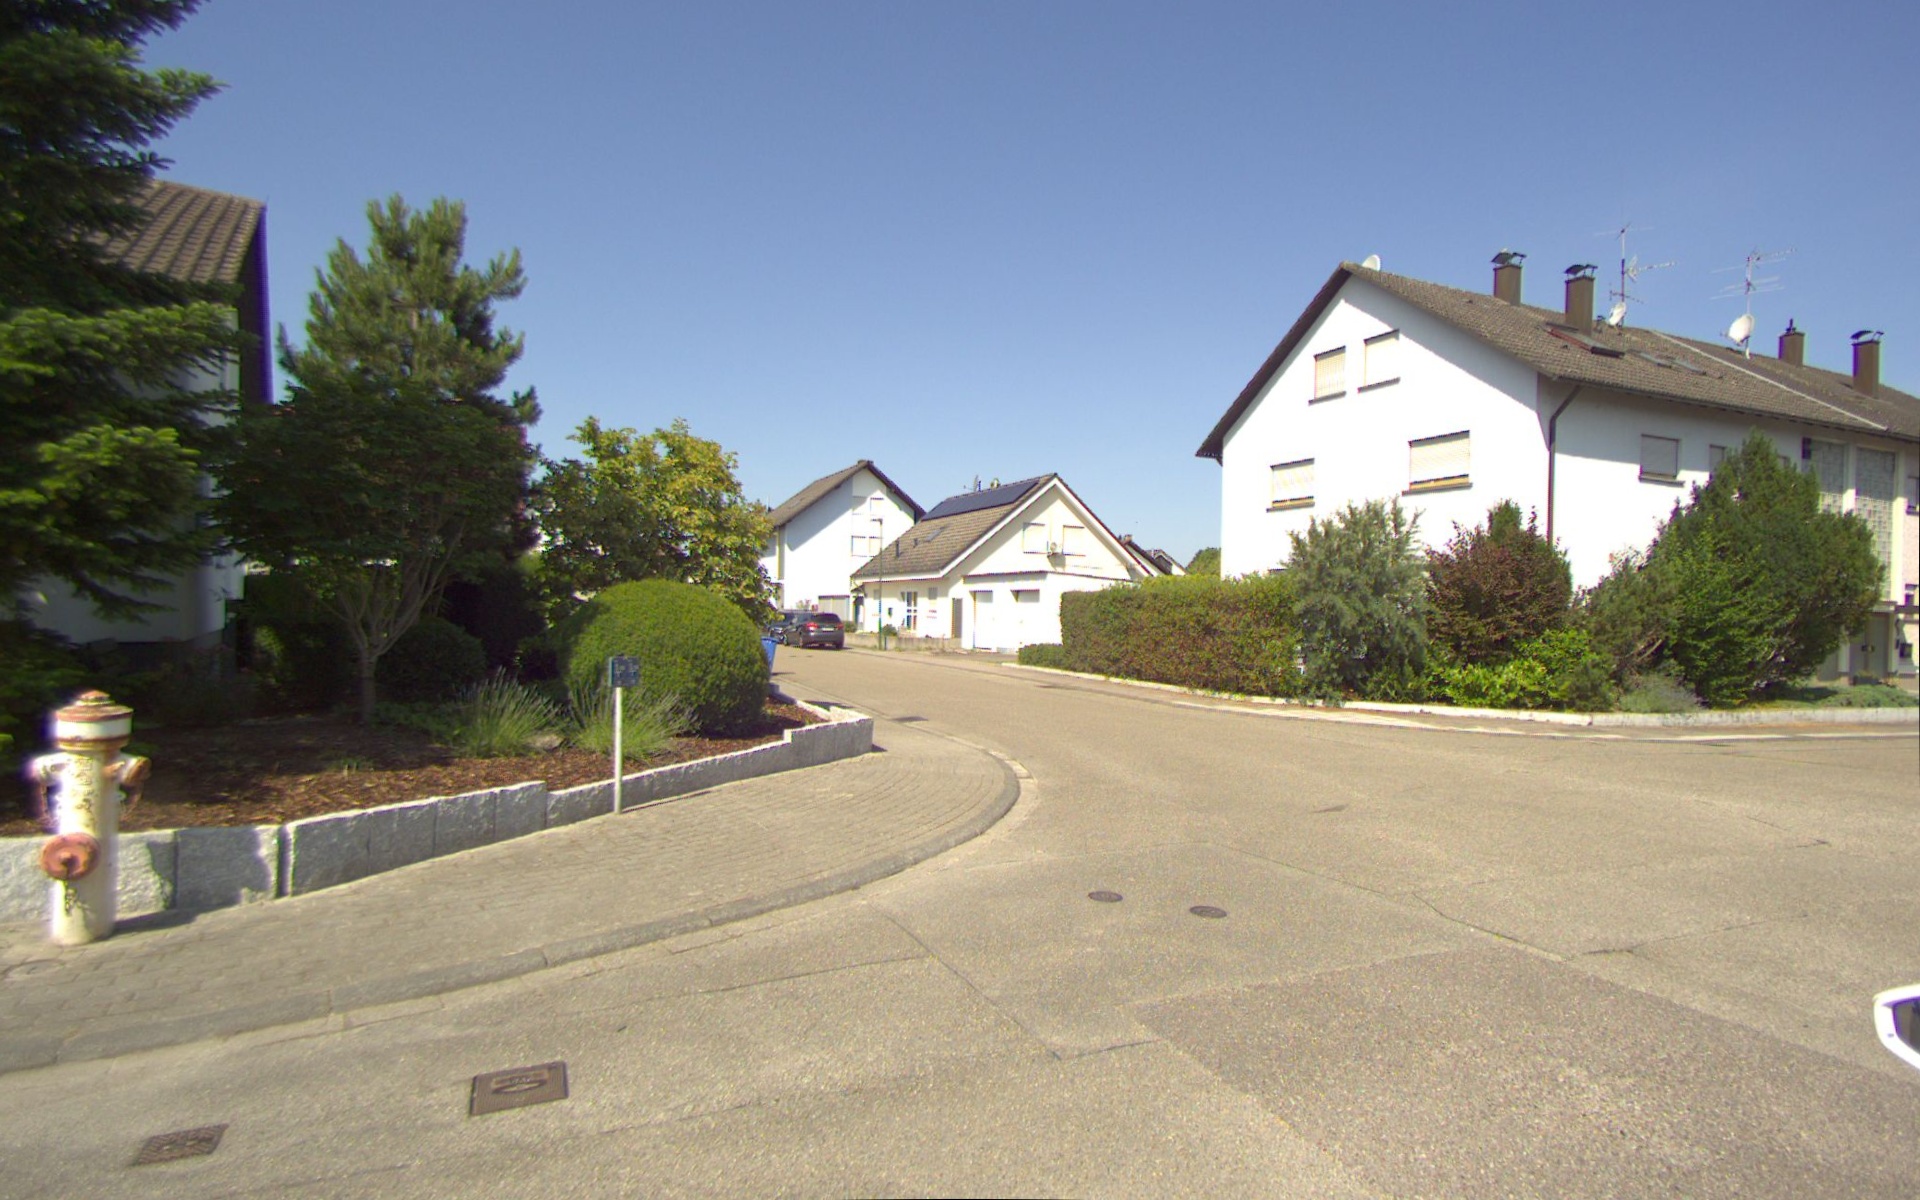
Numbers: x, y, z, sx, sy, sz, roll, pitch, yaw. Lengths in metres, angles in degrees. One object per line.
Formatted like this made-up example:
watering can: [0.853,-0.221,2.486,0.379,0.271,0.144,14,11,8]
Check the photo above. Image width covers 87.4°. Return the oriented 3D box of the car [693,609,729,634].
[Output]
car: [-16.440,1.399,66.177,1.627,1.602,4.123,1,-1,-23]

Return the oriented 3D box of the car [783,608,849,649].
car: [-6.041,1.168,41.762,1.625,1.498,3.976,3,-1,-24]

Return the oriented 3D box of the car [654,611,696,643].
car: [-14.819,1.378,52.104,1.627,1.602,3.787,1,-1,-23]

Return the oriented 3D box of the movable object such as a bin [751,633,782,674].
movable object such as a bin: [-4.636,1.279,24.051,0.576,0.928,0.595,2,-1,-23]

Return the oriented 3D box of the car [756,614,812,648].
car: [-8.315,1.421,47.215,1.698,1.457,4.479,1,-1,-22]
